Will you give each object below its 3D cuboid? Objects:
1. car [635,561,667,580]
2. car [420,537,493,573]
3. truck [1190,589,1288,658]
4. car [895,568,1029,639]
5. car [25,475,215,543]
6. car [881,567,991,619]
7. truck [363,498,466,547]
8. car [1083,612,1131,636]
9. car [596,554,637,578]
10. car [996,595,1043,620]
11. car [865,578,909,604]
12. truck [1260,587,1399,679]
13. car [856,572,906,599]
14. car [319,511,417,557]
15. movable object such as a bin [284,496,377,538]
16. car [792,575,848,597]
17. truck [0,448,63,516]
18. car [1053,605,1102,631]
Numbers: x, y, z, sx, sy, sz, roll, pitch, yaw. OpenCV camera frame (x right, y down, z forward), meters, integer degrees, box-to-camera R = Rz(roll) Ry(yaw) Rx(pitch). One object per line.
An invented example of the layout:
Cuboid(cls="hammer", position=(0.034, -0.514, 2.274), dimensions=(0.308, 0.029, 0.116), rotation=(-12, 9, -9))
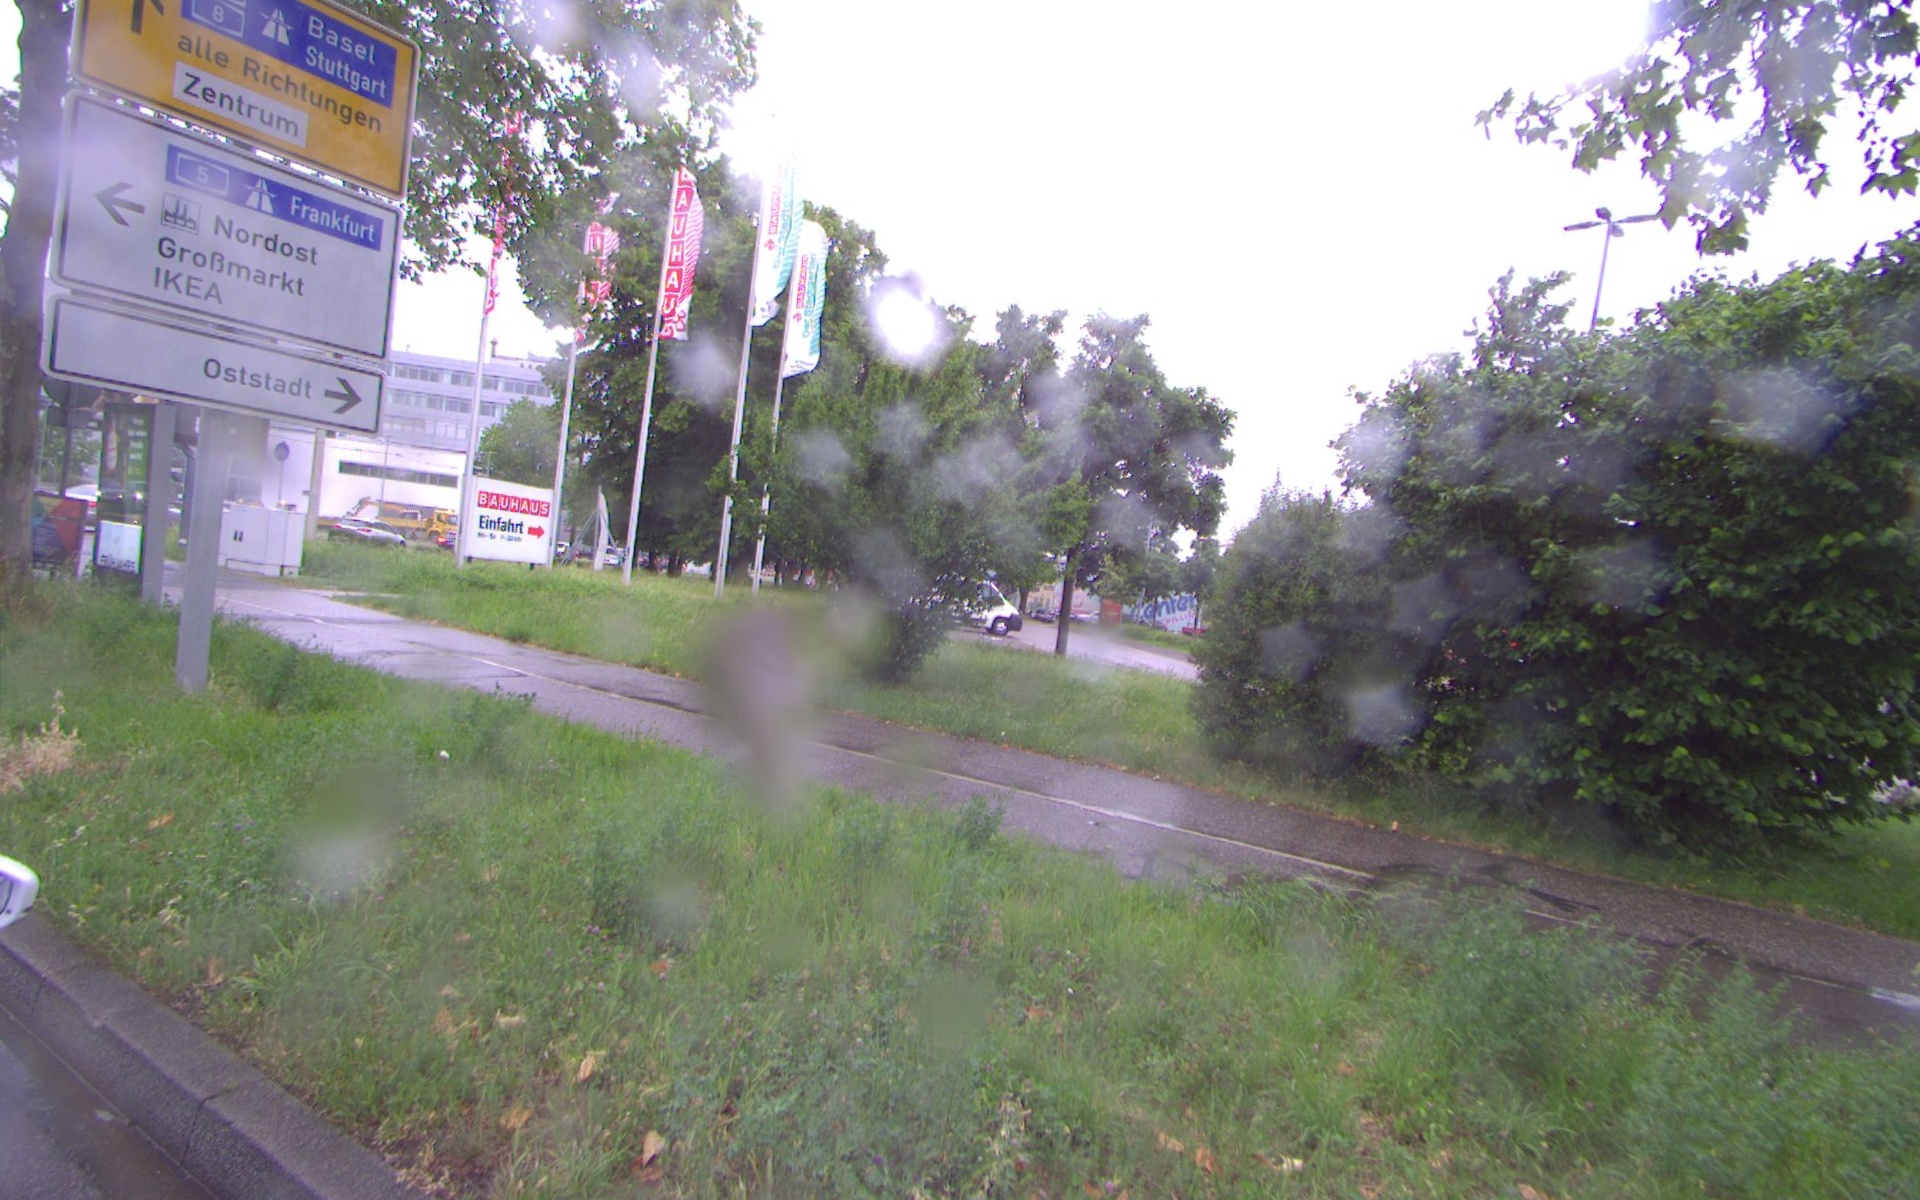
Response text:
Cuboid(cls="car", position=(-30.245, -2.869, 98.577), dimensions=(1.892, 1.606, 4.623), rotation=(6, 0, -4))
Cuboid(cls="car", position=(-28.149, -2.496, 56.382), dimensions=(1.893, 1.606, 4.622), rotation=(6, 0, -4))
Cuboid(cls="truck", position=(16.520, 1.329, 60.295), dimensions=(2.507, 3.511, 9.397), rotation=(8, 0, -2))
Cuboid(cls="car", position=(0.023, 0.142, 40.918), dimensions=(5.015, 2.232, 2.188), rotation=(7, 1, -9))
Cuboid(cls="car", position=(-26.501, -2.808, 32.002), dimensions=(1.892, 1.509, 4.828), rotation=(6, 0, -1))
Cuboid(cls="car", position=(-1.392, -0.410, 57.644), dimensions=(5.955, 2.232, 2.190), rotation=(7, 1, -2))
Cuboid(cls="truck", position=(-52.676, -7.434, 97.336), dimensions=(7.747, 3.552, 3.325), rotation=(7, 1, -4))
Cuboid(cls="car", position=(15.649, 2.557, 107.300), dimensions=(4.612, 2.038, 2.001), rotation=(7, 0, 3))
Cuboid(cls="car", position=(-28.233, -2.780, 82.768), dimensions=(1.892, 1.606, 4.623), rotation=(6, 0, -4))
Cuboid(cls="car", position=(6.239, 0.745, 105.669), dimensions=(4.614, 2.039, 1.999), rotation=(7, 1, -2))
Cuboid(cls="car", position=(-7.427, -0.914, 102.962), dimensions=(4.208, 2.075, 1.762), rotation=(8, 1, -5))
Cuboid(cls="truck", position=(16.714, 1.335, 46.234), dimensions=(2.508, 3.513, 8.008), rotation=(8, 0, -4))
Cuboid(cls="car", position=(-7.857, -1.445, 100.593), dimensions=(4.670, 2.241, 1.964), rotation=(6, 1, -2))
Cuboid(cls="car", position=(-27.488, -3.019, 46.916), dimensions=(1.892, 1.606, 4.623), rotation=(6, 0, -3))
Cuboid(cls="movable object such as a bin", position=(-60.590, -7.919, 97.013), dimensions=(6.601, 3.034, 3.324), rotation=(7, 1, -4))
Cuboid(cls="car", position=(-15.416, -1.583, 111.070), dimensions=(5.853, 1.754, 2.276), rotation=(6, 1, -3))
Cuboid(cls="truck", position=(-37.807, -4.741, 37.571), dimensions=(2.437, 2.394, 6.863), rotation=(7, 0, -2))
Cuboid(cls="car", position=(11.895, 1.847, 101.775), dimensions=(4.612, 2.038, 2.001), rotation=(7, 0, 3))
